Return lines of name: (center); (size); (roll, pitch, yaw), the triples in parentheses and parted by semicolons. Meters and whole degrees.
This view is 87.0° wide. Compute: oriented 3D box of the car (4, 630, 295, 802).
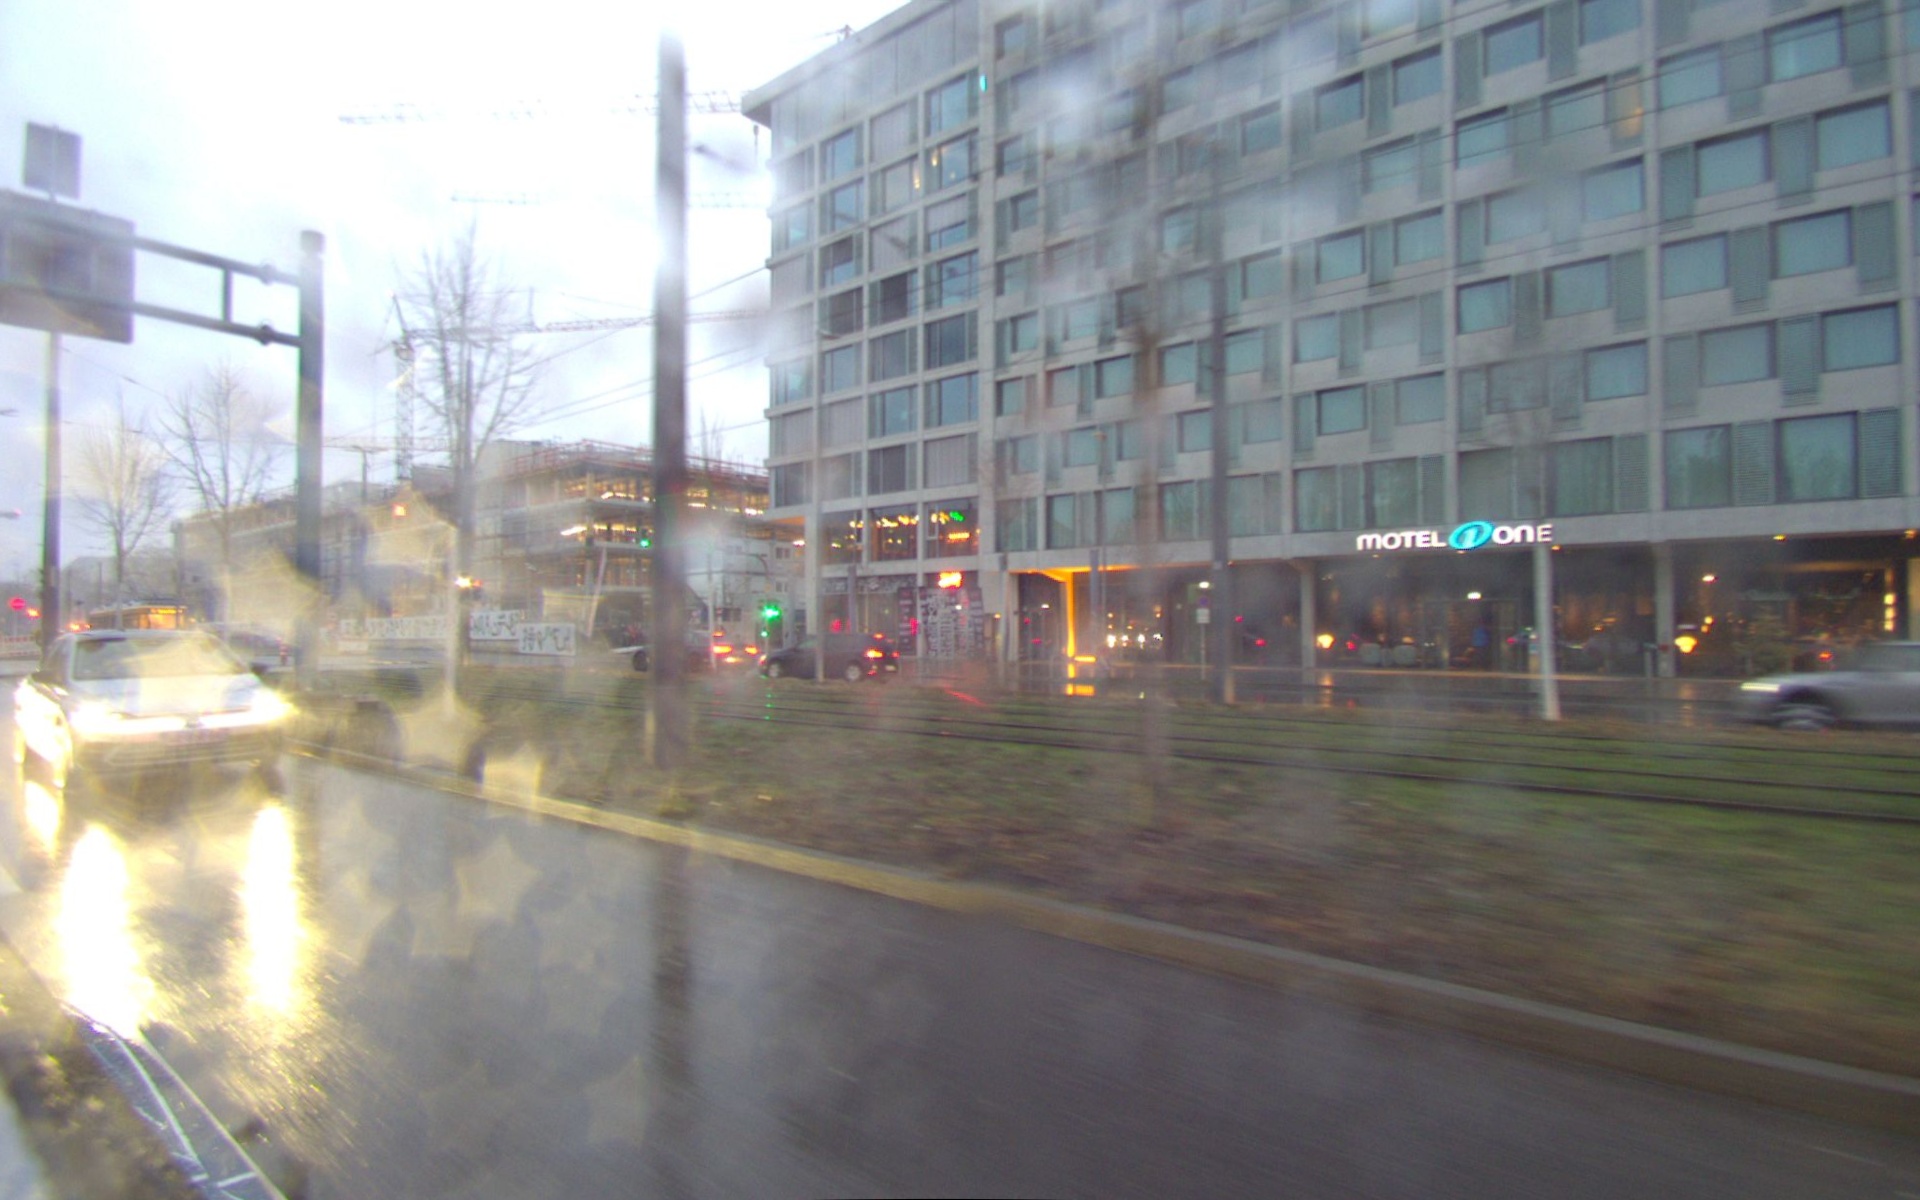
car: (-8.446, 1.023, 10.423); (3.980, 1.381, 1.744); (-1, -1, 42)

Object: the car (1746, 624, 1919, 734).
car: (13.241, 1.061, 13.945); (3.704, 1.442, 1.876); (-2, -3, 40)

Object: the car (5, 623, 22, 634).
car: (-176.653, 5.250, 188.834); (3.998, 2.029, 1.973); (-2, -3, 41)

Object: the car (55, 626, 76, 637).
car: (-153.593, 5.467, 173.761); (3.994, 1.837, 1.975); (-2, -2, 38)

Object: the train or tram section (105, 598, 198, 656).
train or tram section: (-53.952, 1.874, 67.281); (14.268, 3.513, 2.924); (-2, -3, 44)

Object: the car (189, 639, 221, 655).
car: (-79.887, 4.942, 107.067); (4.001, 1.577, 1.971); (-2, -3, 44)

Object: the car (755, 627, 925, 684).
car: (-3.398, 1.526, 28.580); (4.425, 1.508, 1.983); (-1, -2, 26)

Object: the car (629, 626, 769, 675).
car: (-8.560, 1.608, 32.998); (5.032, 1.479, 1.972); (-2, -3, 42)
